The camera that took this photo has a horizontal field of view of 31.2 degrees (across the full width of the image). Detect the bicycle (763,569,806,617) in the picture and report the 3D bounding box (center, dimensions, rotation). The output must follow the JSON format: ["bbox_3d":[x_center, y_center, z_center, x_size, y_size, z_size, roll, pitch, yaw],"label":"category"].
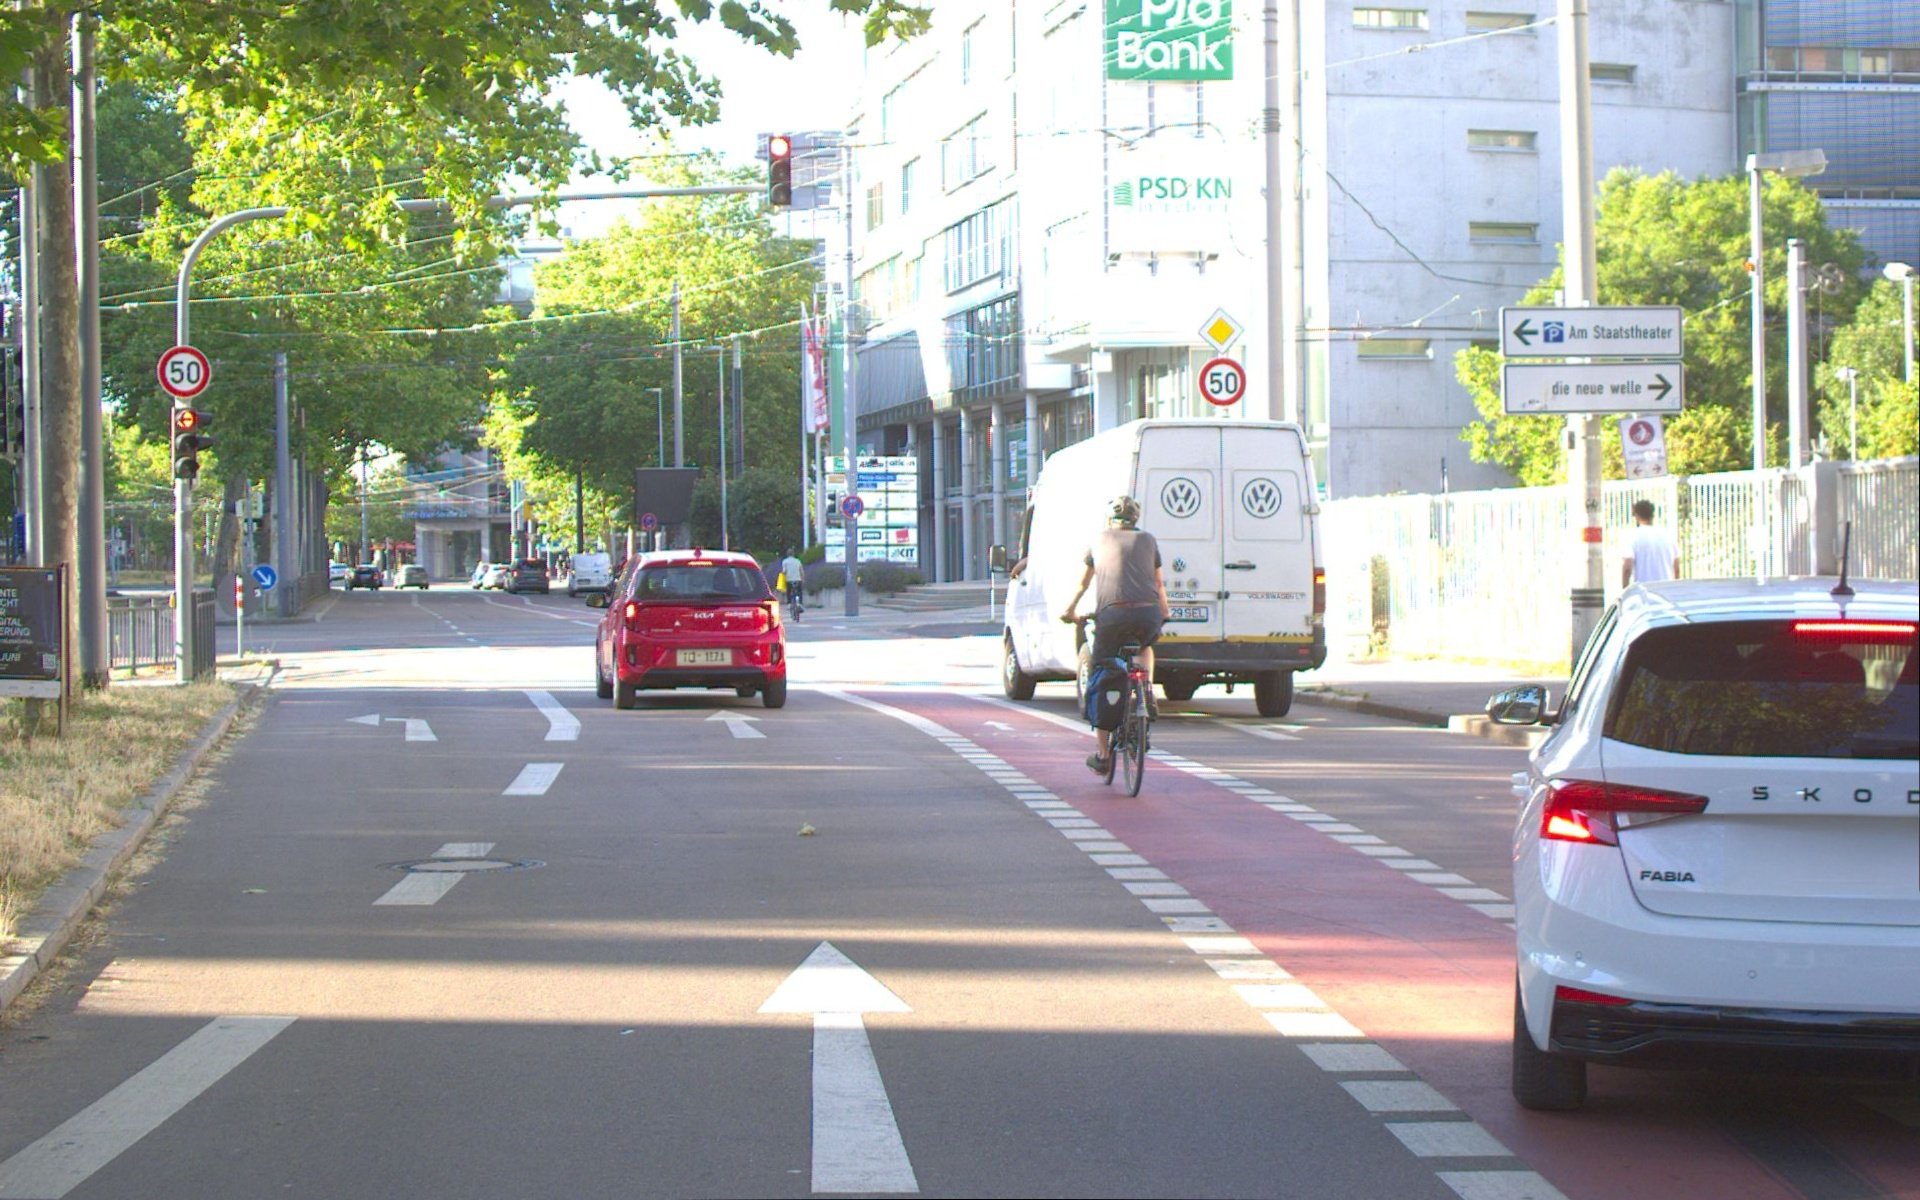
[{"bbox_3d":[-4.385,-0.188,85.671,0.792,1.157,2.500,-1,1,-9],"label":"bicycle"}]

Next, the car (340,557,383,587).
[{"bbox_3d":[-34.427,-1.623,197.676,2.057,1.648,3.493,-2,1,-15],"label":"car"}]

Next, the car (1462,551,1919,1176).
[{"bbox_3d":[2.446,0.605,10.213,1.802,1.496,3.980,0,1,7],"label":"car"}]

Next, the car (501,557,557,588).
[{"bbox_3d":[-22.496,-1.465,179.264,2.477,1.523,4.433,-2,1,-12],"label":"car"}]

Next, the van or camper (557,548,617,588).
[{"bbox_3d":[-17.161,-1.468,157.999,2.145,1.744,4.433,-2,1,-13],"label":"van or camper"}]

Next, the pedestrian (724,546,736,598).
[{"bbox_3d":[-6.914,-0.835,103.408,0.294,1.557,0.302,-1,1,-8],"label":"pedestrian"}]

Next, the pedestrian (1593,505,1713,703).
[{"bbox_3d":[6.231,0.027,30.934,0.786,1.742,0.772,-2,1,-11],"label":"pedestrian"}]

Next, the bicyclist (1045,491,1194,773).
[{"bbox_3d":[0.957,0.185,20.786,0.743,1.663,0.745,1,1,-8],"label":"bicyclist"}]

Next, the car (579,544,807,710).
[{"bbox_3d":[-2.651,0.217,33.431,1.839,1.484,3.717,-1,1,-10],"label":"car"}]

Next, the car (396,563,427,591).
[{"bbox_3d":[-32.993,-1.407,206.828,1.657,1.601,3.532,-2,1,-11],"label":"car"}]

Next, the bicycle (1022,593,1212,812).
[{"bbox_3d":[0.927,0.592,20.939,0.743,1.220,2.156,1,1,-8],"label":"bicycle"}]

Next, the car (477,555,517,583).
[{"bbox_3d":[-27.052,-1.829,200.821,1.884,1.523,4.433,-2,1,-13],"label":"car"}]

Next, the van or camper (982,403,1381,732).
[{"bbox_3d":[1.908,-0.313,32.243,2.268,2.724,6.348,2,1,-10],"label":"van or camper"}]

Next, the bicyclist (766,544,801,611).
[{"bbox_3d":[-4.409,-0.565,85.764,0.785,1.629,0.639,-1,1,-8],"label":"bicyclist"}]
